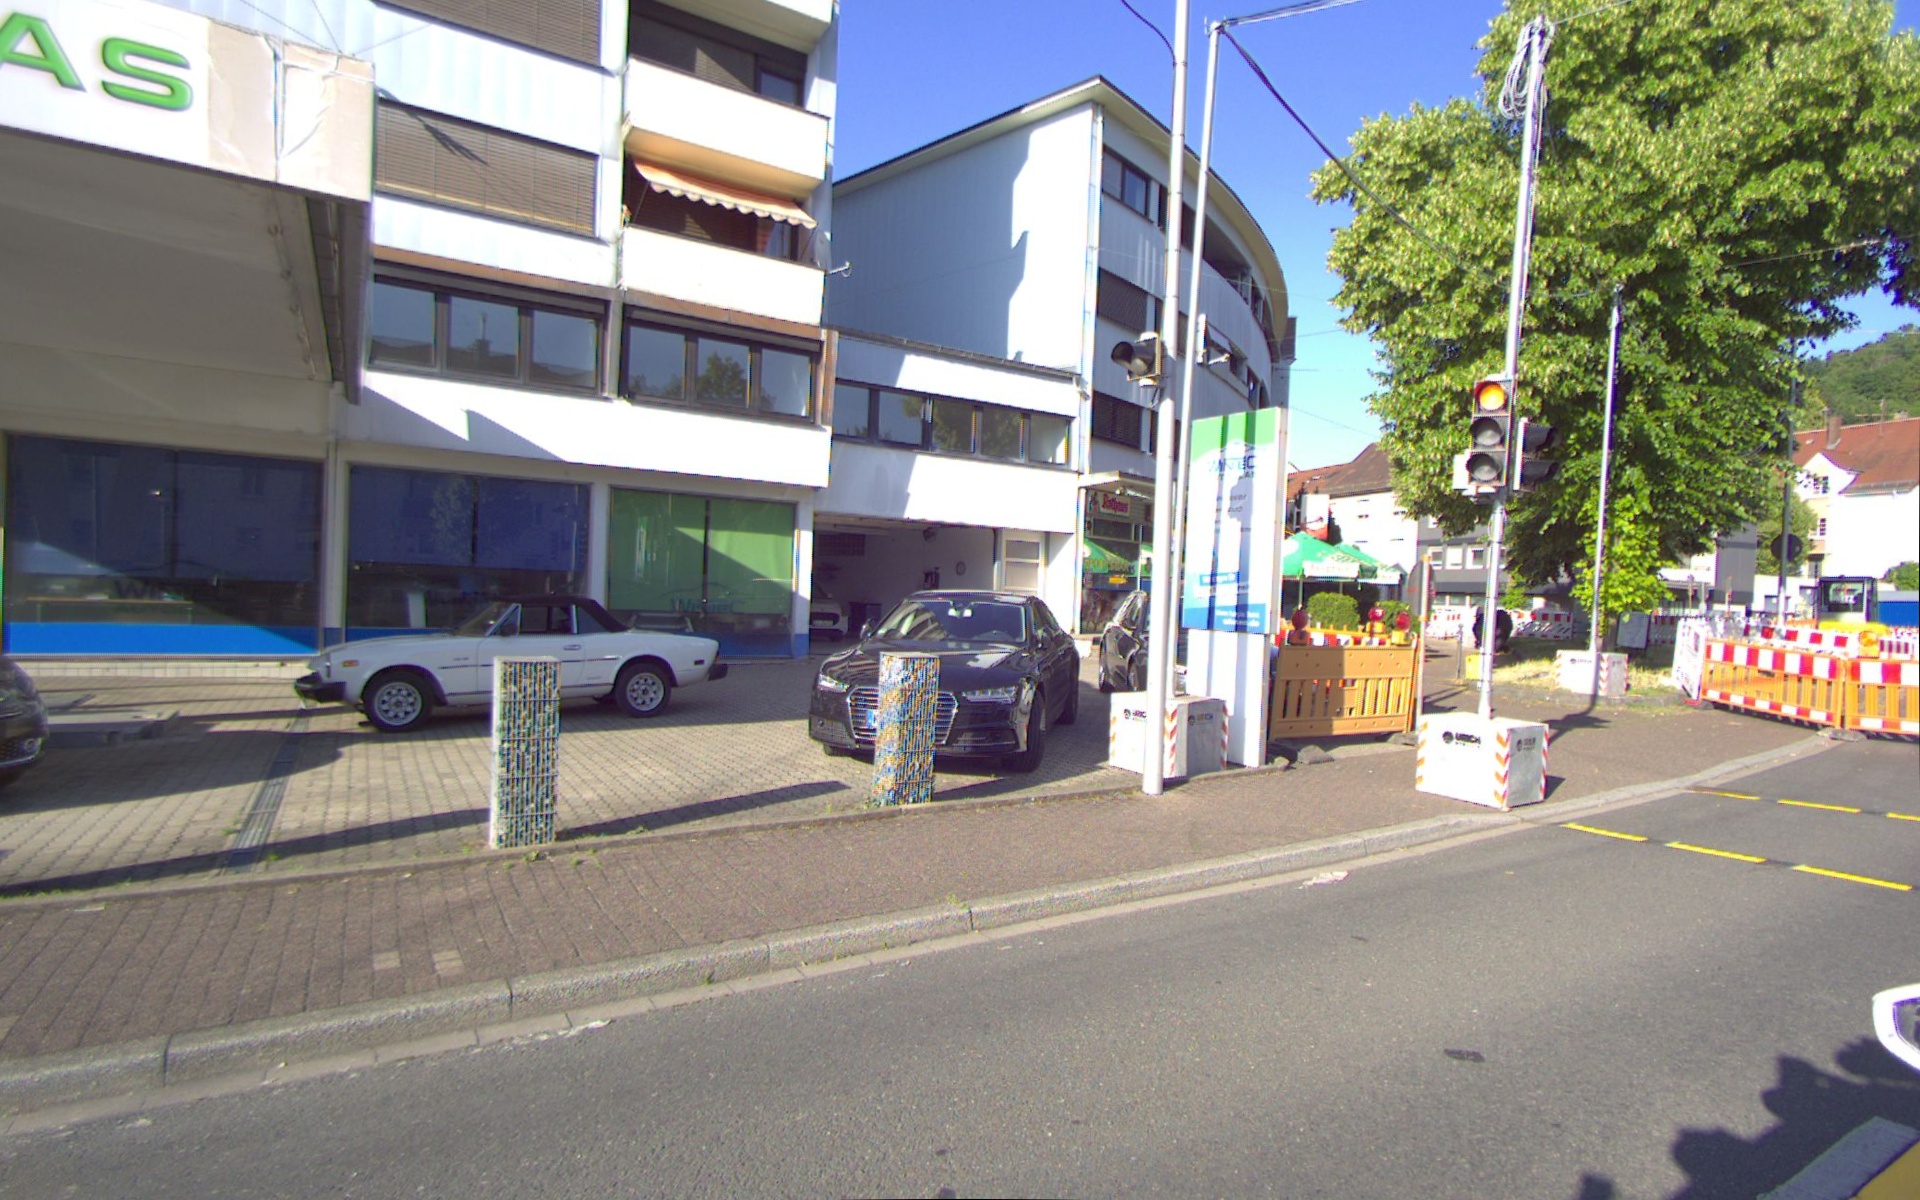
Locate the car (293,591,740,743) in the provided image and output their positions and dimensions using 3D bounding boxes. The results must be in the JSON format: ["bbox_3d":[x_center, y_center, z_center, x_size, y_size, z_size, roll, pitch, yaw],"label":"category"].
[{"bbox_3d":[-4.555,0.587,10.570,4.097,1.301,1.576,0,1,-35],"label":"car"}]

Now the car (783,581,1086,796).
[{"bbox_3d":[0.042,0.598,9.509,1.872,1.474,4.315,2,2,12],"label":"car"}]

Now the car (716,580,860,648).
[{"bbox_3d":[-4.250,0.294,24.378,1.980,1.486,3.961,1,1,-34],"label":"car"}]

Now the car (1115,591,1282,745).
[{"bbox_3d":[2.890,0.673,12.483,1.617,1.474,4.301,2,2,12],"label":"car"}]

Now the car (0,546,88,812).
[{"bbox_3d":[-7.396,0.412,5.898,3.325,1.589,1.623,2,1,8],"label":"car"}]
